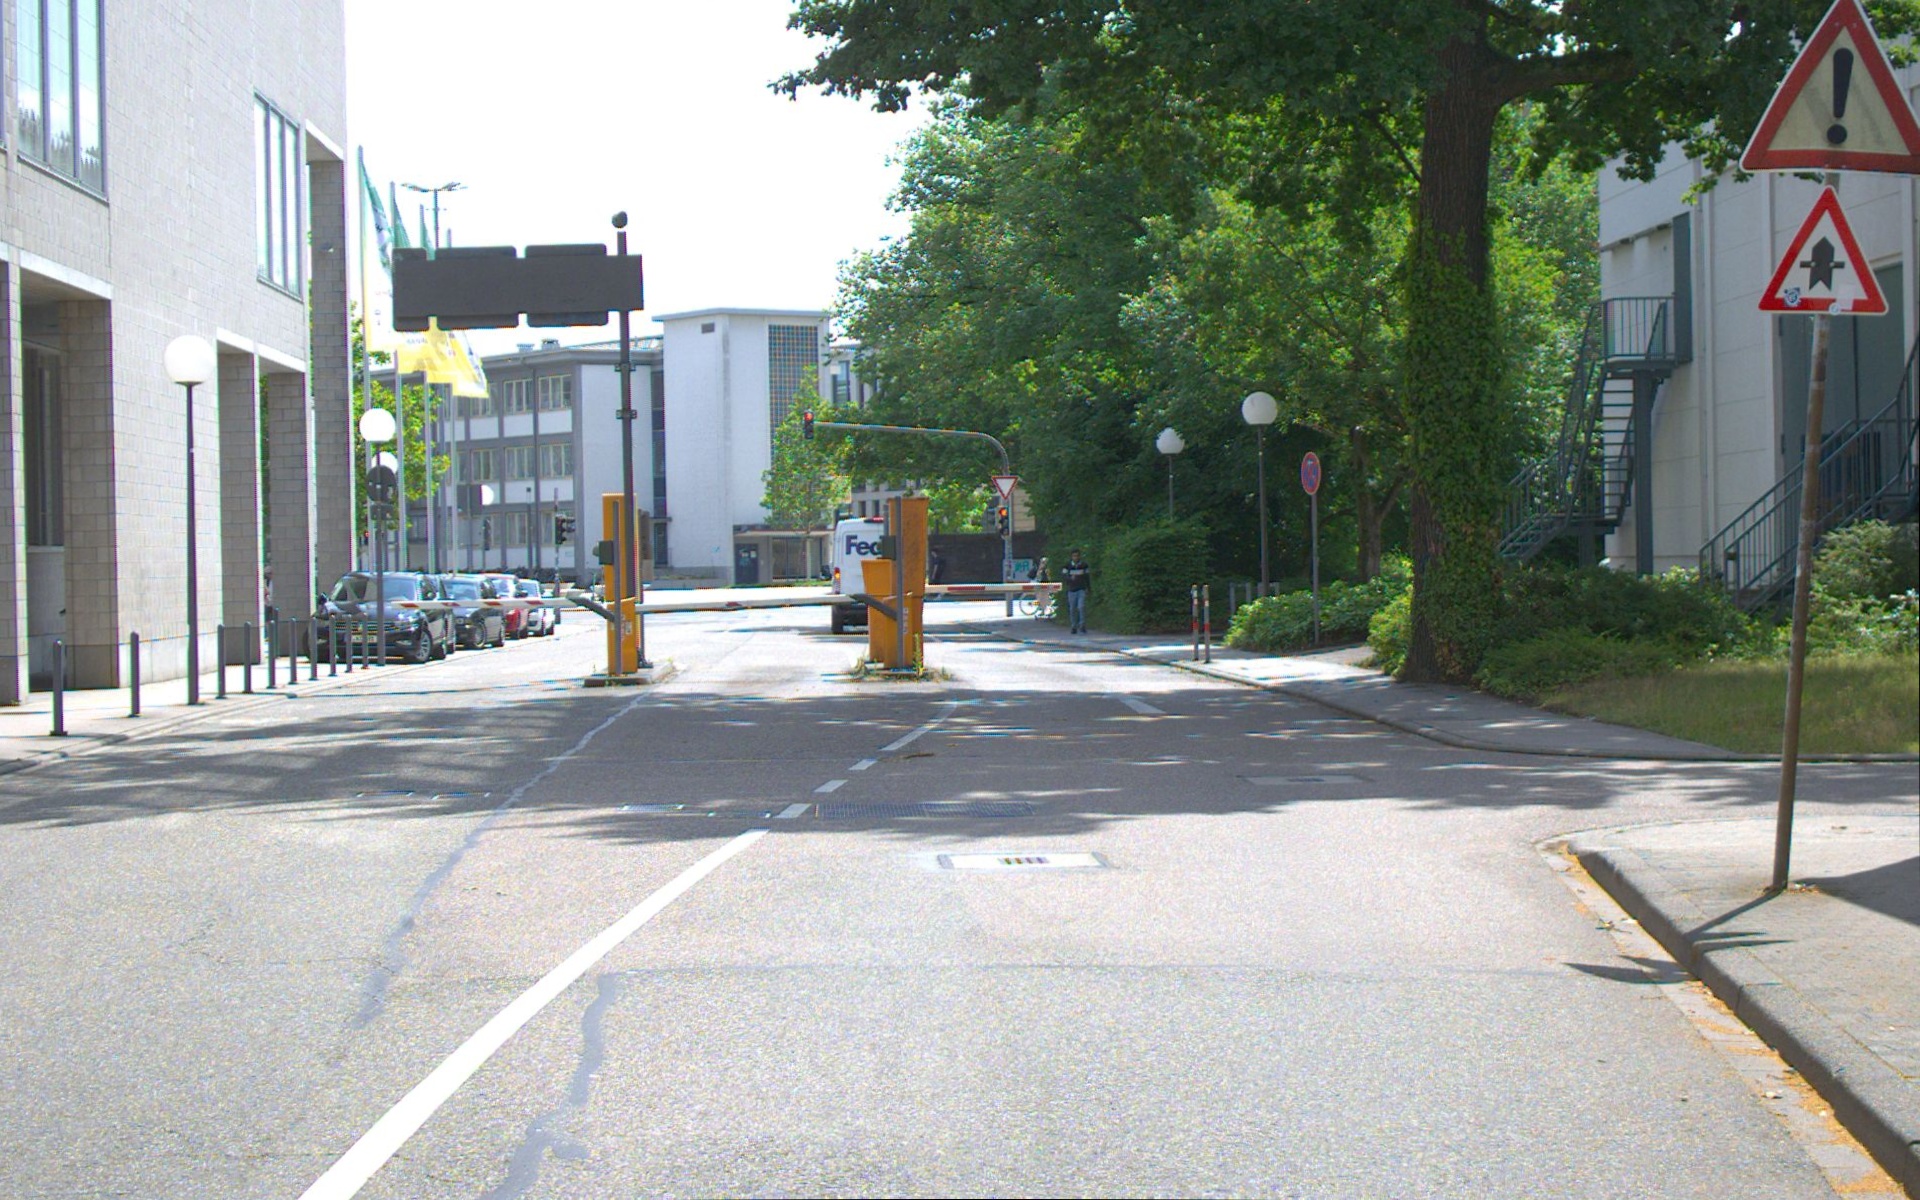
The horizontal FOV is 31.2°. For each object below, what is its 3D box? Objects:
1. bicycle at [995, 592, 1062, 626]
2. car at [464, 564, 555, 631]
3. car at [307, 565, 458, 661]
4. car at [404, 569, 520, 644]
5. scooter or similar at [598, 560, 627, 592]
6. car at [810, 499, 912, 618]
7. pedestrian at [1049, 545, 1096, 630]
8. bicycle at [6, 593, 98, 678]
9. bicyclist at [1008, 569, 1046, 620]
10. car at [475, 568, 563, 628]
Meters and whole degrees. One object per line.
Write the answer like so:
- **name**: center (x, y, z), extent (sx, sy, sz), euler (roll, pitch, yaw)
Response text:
- **bicycle**: center (2.016, 0.265, 101.099), extent (2.101, 0.992, 0.678), euler (0, 0, -42)
- **car**: center (-10.330, -0.082, 79.044), extent (1.676, 1.462, 3.911), euler (1, 1, -2)
- **car**: center (-9.356, 0.185, 56.008), extent (1.859, 1.462, 4.719), euler (1, 1, -3)
- **car**: center (-9.798, 0.111, 67.943), extent (1.859, 1.373, 5.017), euler (1, 1, -4)
- **scooter or similar**: center (-13.108, -0.908, 129.682), extent (0.716, 1.174, 2.726), euler (-1, 1, -13)
- **car**: center (-2.279, -0.945, 77.597), extent (2.095, 2.558, 5.603), euler (-1, 1, -3)
- **pedestrian**: center (2.236, -0.245, 68.448), extent (0.739, 1.669, 1.257), euler (-1, 1, -6)
- **bicycle**: center (-11.848, 0.445, 44.935), extent (0.830, 1.065, 2.472), euler (0, 0, -7)
- **bicyclist**: center (1.971, -0.154, 101.062), extent (0.891, 1.490, 0.664), euler (0, 0, -42)
- **car**: center (-10.760, -0.065, 84.184), extent (1.676, 1.390, 4.663), euler (1, 1, -2)
